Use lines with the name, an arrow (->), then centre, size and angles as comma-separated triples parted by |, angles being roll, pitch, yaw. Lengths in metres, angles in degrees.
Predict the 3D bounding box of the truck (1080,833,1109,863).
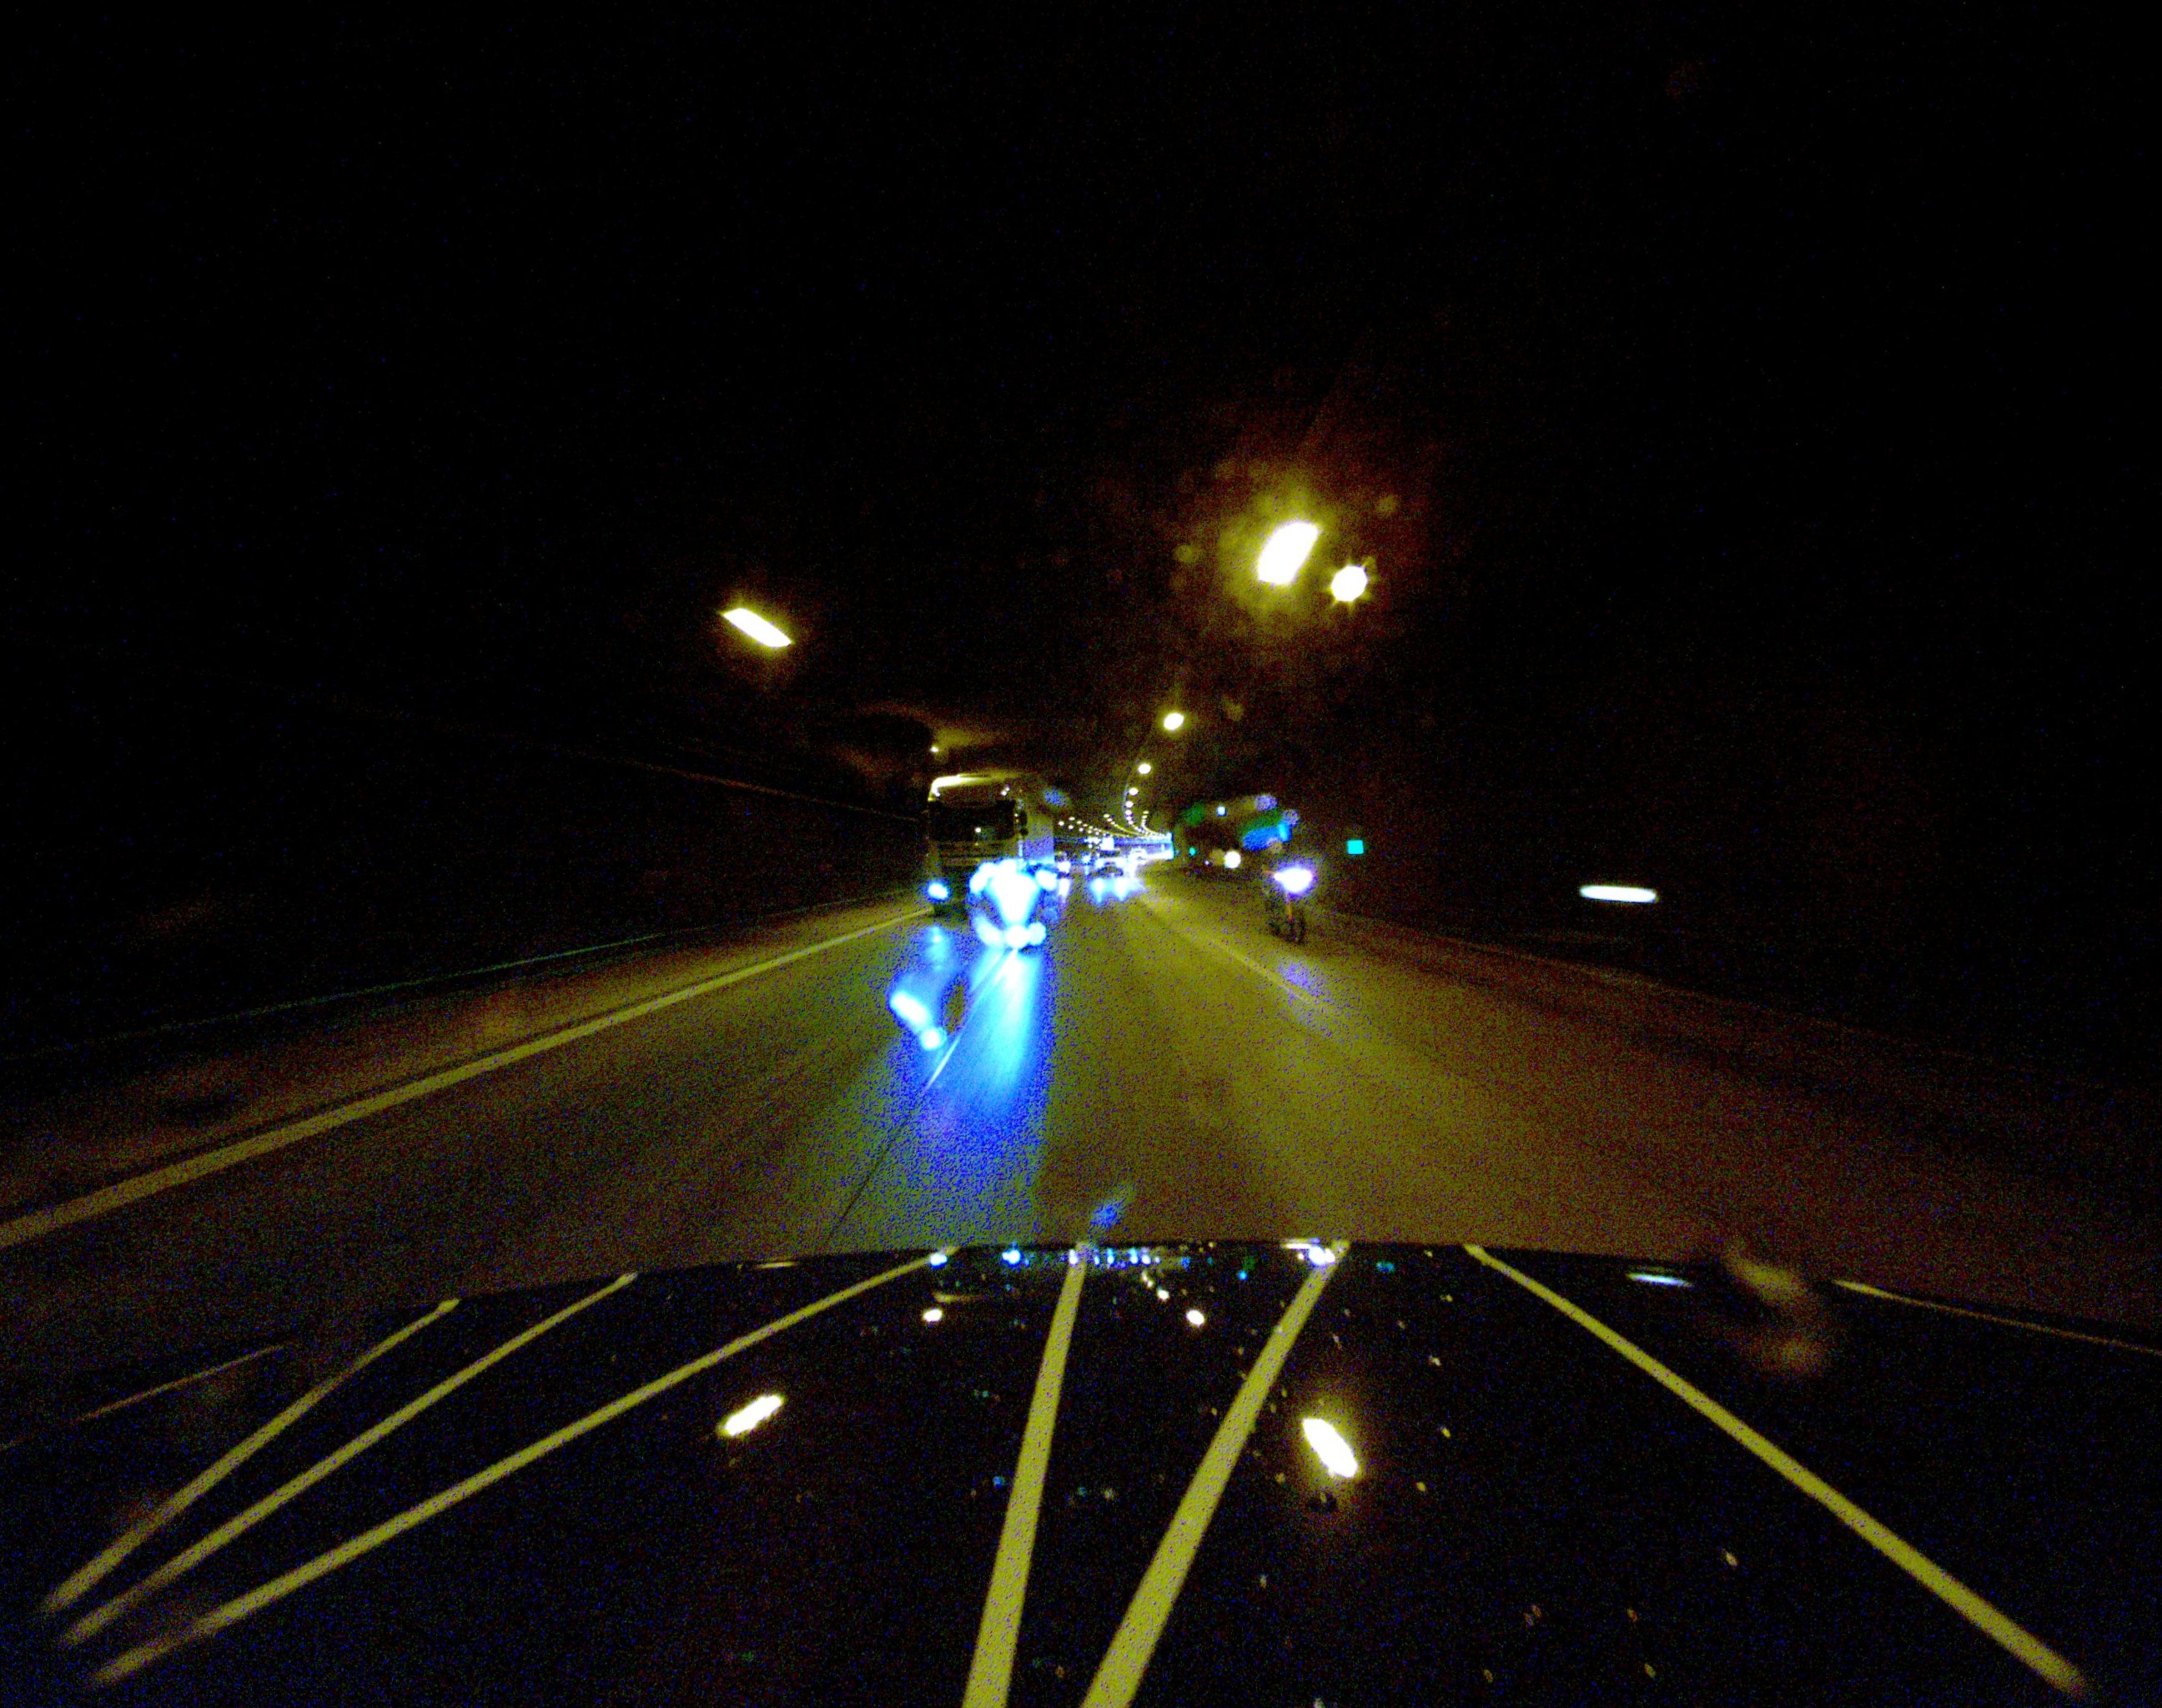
truck -> 1.916, -0.886, 105.473 | 2.899, 3.819, 9.000 | -3, 1, 7

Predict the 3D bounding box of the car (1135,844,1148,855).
car -> 11.156, -0.820, 139.862 | 1.997, 1.788, 4.002 | -3, 1, 9

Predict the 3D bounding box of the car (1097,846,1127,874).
car -> 2.224, 0.418, 55.817 | 1.998, 1.890, 4.000 | -2, 0, 0

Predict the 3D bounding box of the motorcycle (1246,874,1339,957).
motorcycle -> 3.468, 0.963, 12.714 | 1.055, 1.151, 2.428 | -2, 0, 5

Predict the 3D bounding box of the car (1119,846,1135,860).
car -> 6.813, -0.179, 112.443 | 1.997, 1.788, 4.001 | -3, 1, 7

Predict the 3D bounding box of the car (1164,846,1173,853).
car -> 24.729, -1.190, 214.209 | 1.997, 1.788, 4.002 | -3, 1, 11

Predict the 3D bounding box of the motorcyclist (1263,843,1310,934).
motorcyclist -> 3.473, 0.565, 12.895 | 0.628, 1.480, 0.891 | -2, 1, 8

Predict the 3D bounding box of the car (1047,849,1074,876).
car -> -1.471, 0.573, 56.191 | 1.839, 1.849, 4.288 | -1, 1, 1

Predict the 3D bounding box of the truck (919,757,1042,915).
truck -> -2.858, -0.498, 23.414 | 2.652, 4.139, 6.005 | -3, 1, 2

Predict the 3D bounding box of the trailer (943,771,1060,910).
trailer -> -2.649, -0.452, 30.319 | 2.627, 4.139, 14.001 | -3, 0, 1
